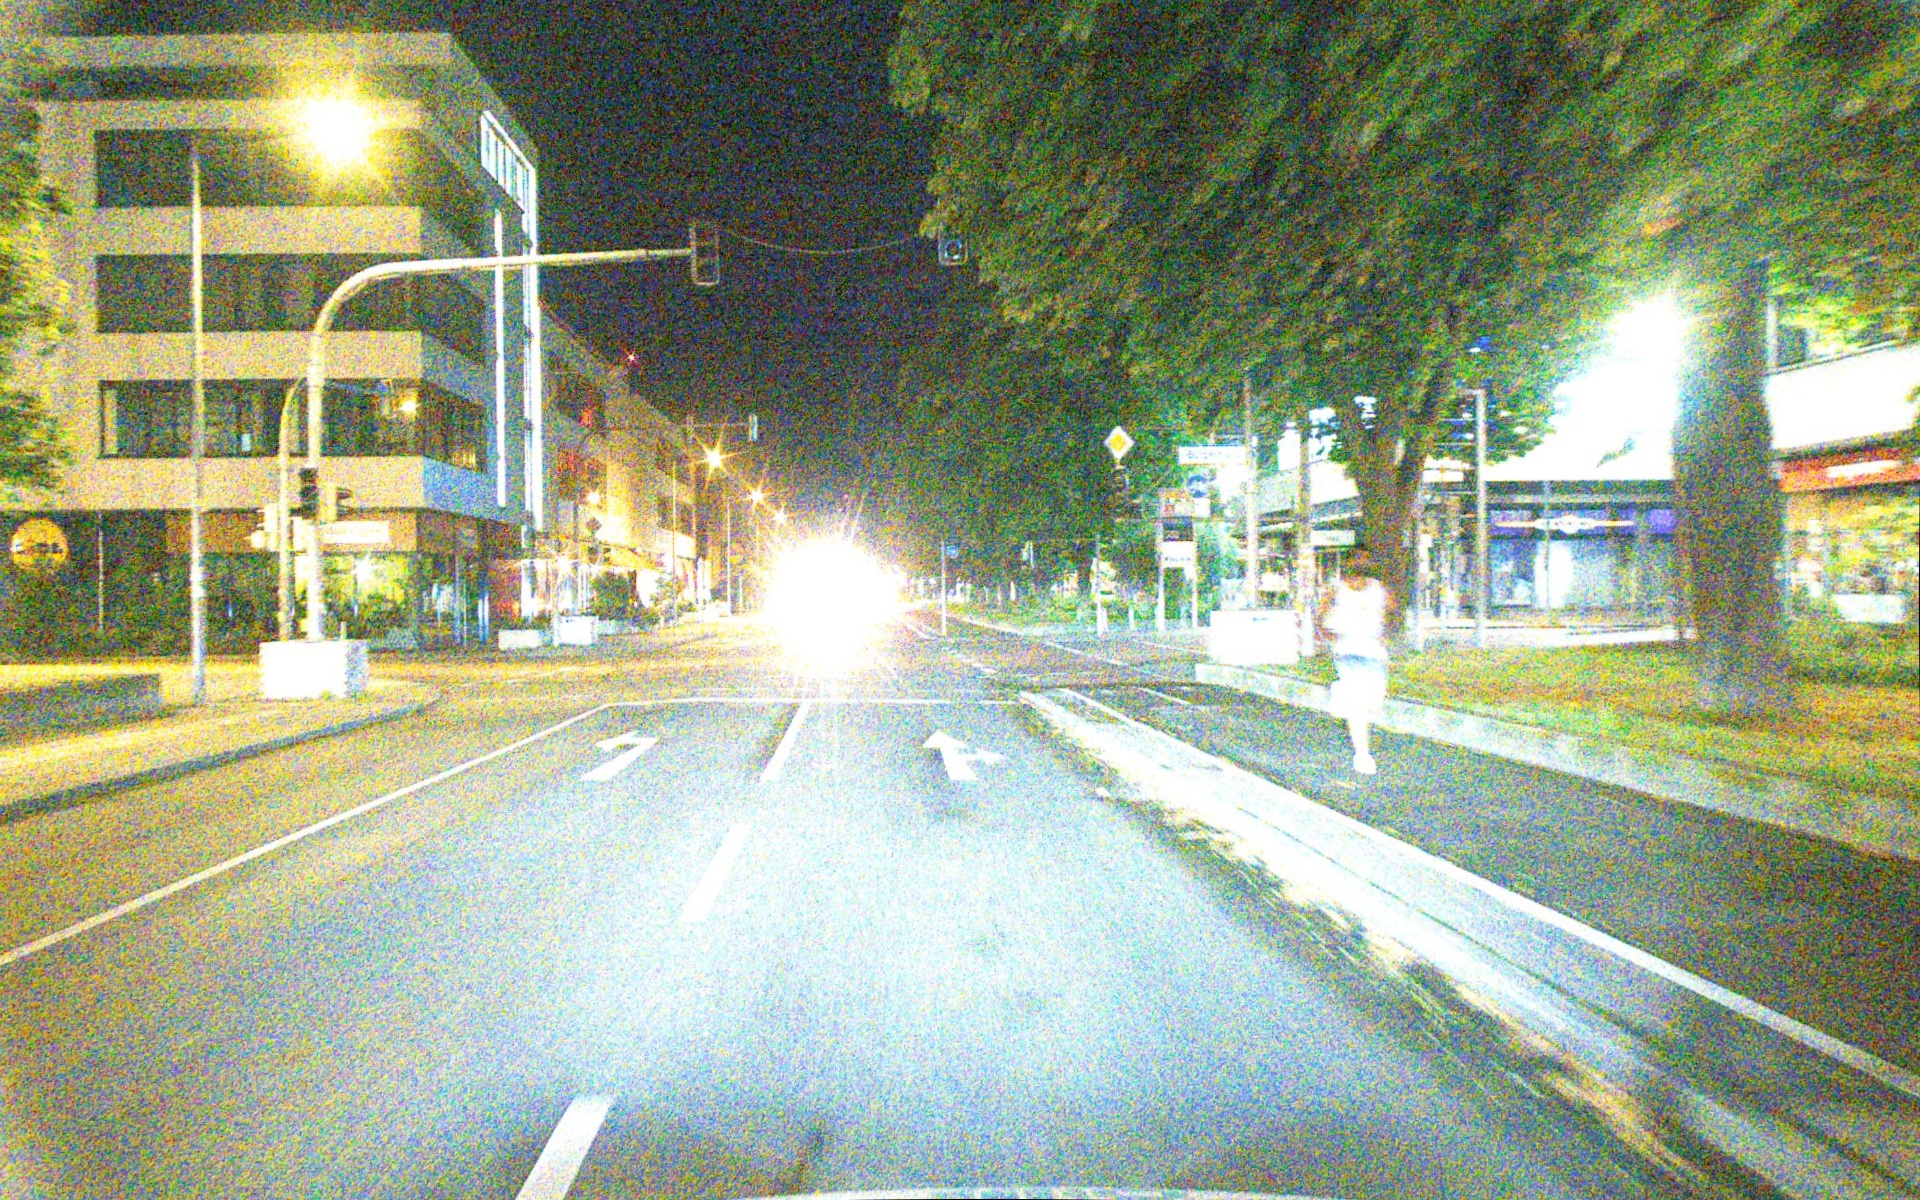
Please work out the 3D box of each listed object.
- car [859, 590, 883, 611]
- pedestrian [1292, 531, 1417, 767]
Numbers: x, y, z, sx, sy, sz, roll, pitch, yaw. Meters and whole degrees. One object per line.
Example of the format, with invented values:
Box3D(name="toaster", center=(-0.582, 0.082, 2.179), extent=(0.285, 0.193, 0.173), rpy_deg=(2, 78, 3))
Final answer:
Box3D(name="car", center=(-7.474, 0.044, 138.908), extent=(1.954, 1.672, 3.997), rpy_deg=(-2, 0, -3))
Box3D(name="pedestrian", center=(3.226, 0.383, 13.612), extent=(0.689, 1.850, 1.081), rpy_deg=(-2, 0, -3))
